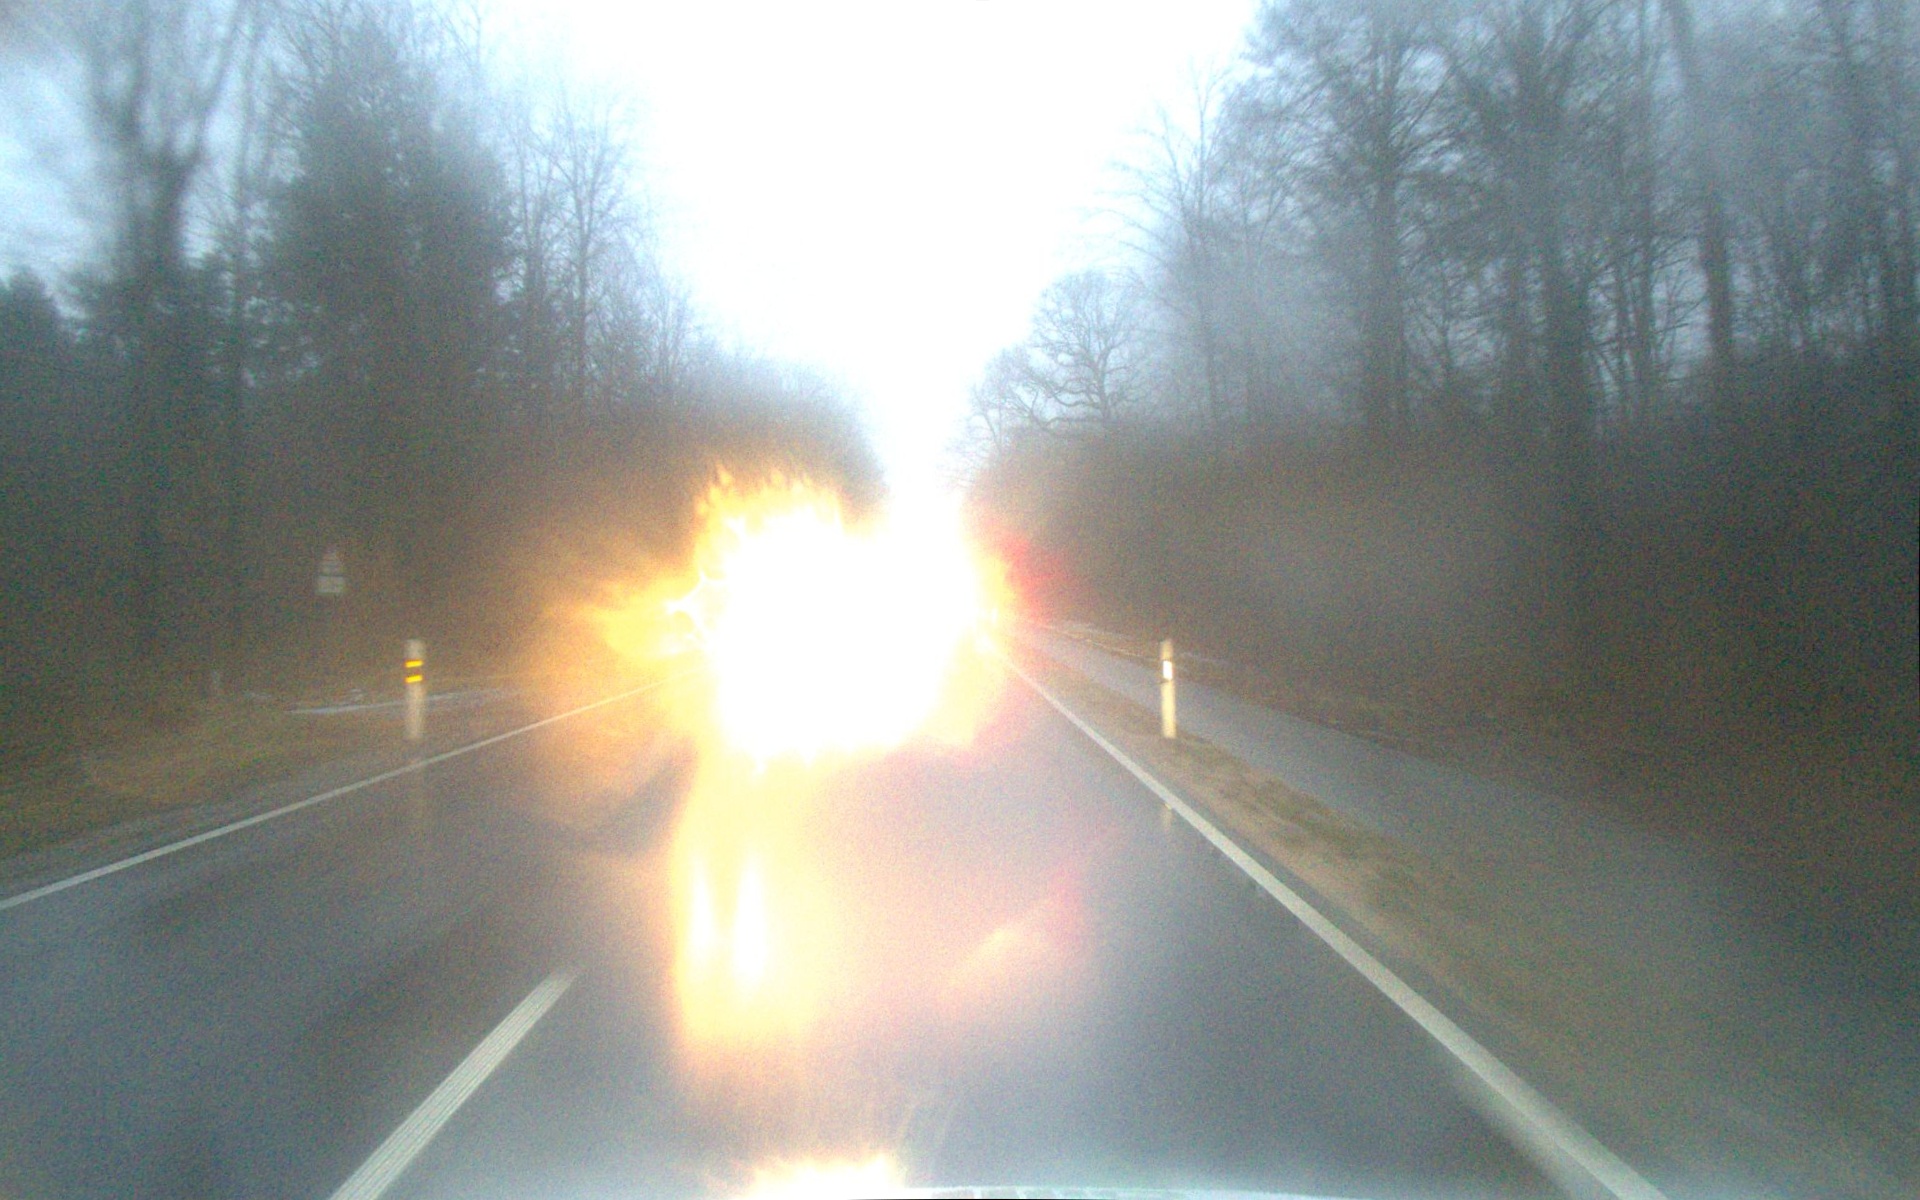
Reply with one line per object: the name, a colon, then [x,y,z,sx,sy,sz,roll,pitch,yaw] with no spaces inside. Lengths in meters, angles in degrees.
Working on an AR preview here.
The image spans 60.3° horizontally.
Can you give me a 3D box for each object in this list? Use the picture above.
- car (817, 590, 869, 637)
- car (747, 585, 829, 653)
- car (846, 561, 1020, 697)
car: [-4.637,0.518,66.084,1.785,1.677,4.749,-2,1,-1]
car: [-4.427,0.467,43.088,1.763,1.628,3.861,-2,0,-1]
car: [-0.494,0.534,33.475,3.118,2.428,6.636,1,0,0]
